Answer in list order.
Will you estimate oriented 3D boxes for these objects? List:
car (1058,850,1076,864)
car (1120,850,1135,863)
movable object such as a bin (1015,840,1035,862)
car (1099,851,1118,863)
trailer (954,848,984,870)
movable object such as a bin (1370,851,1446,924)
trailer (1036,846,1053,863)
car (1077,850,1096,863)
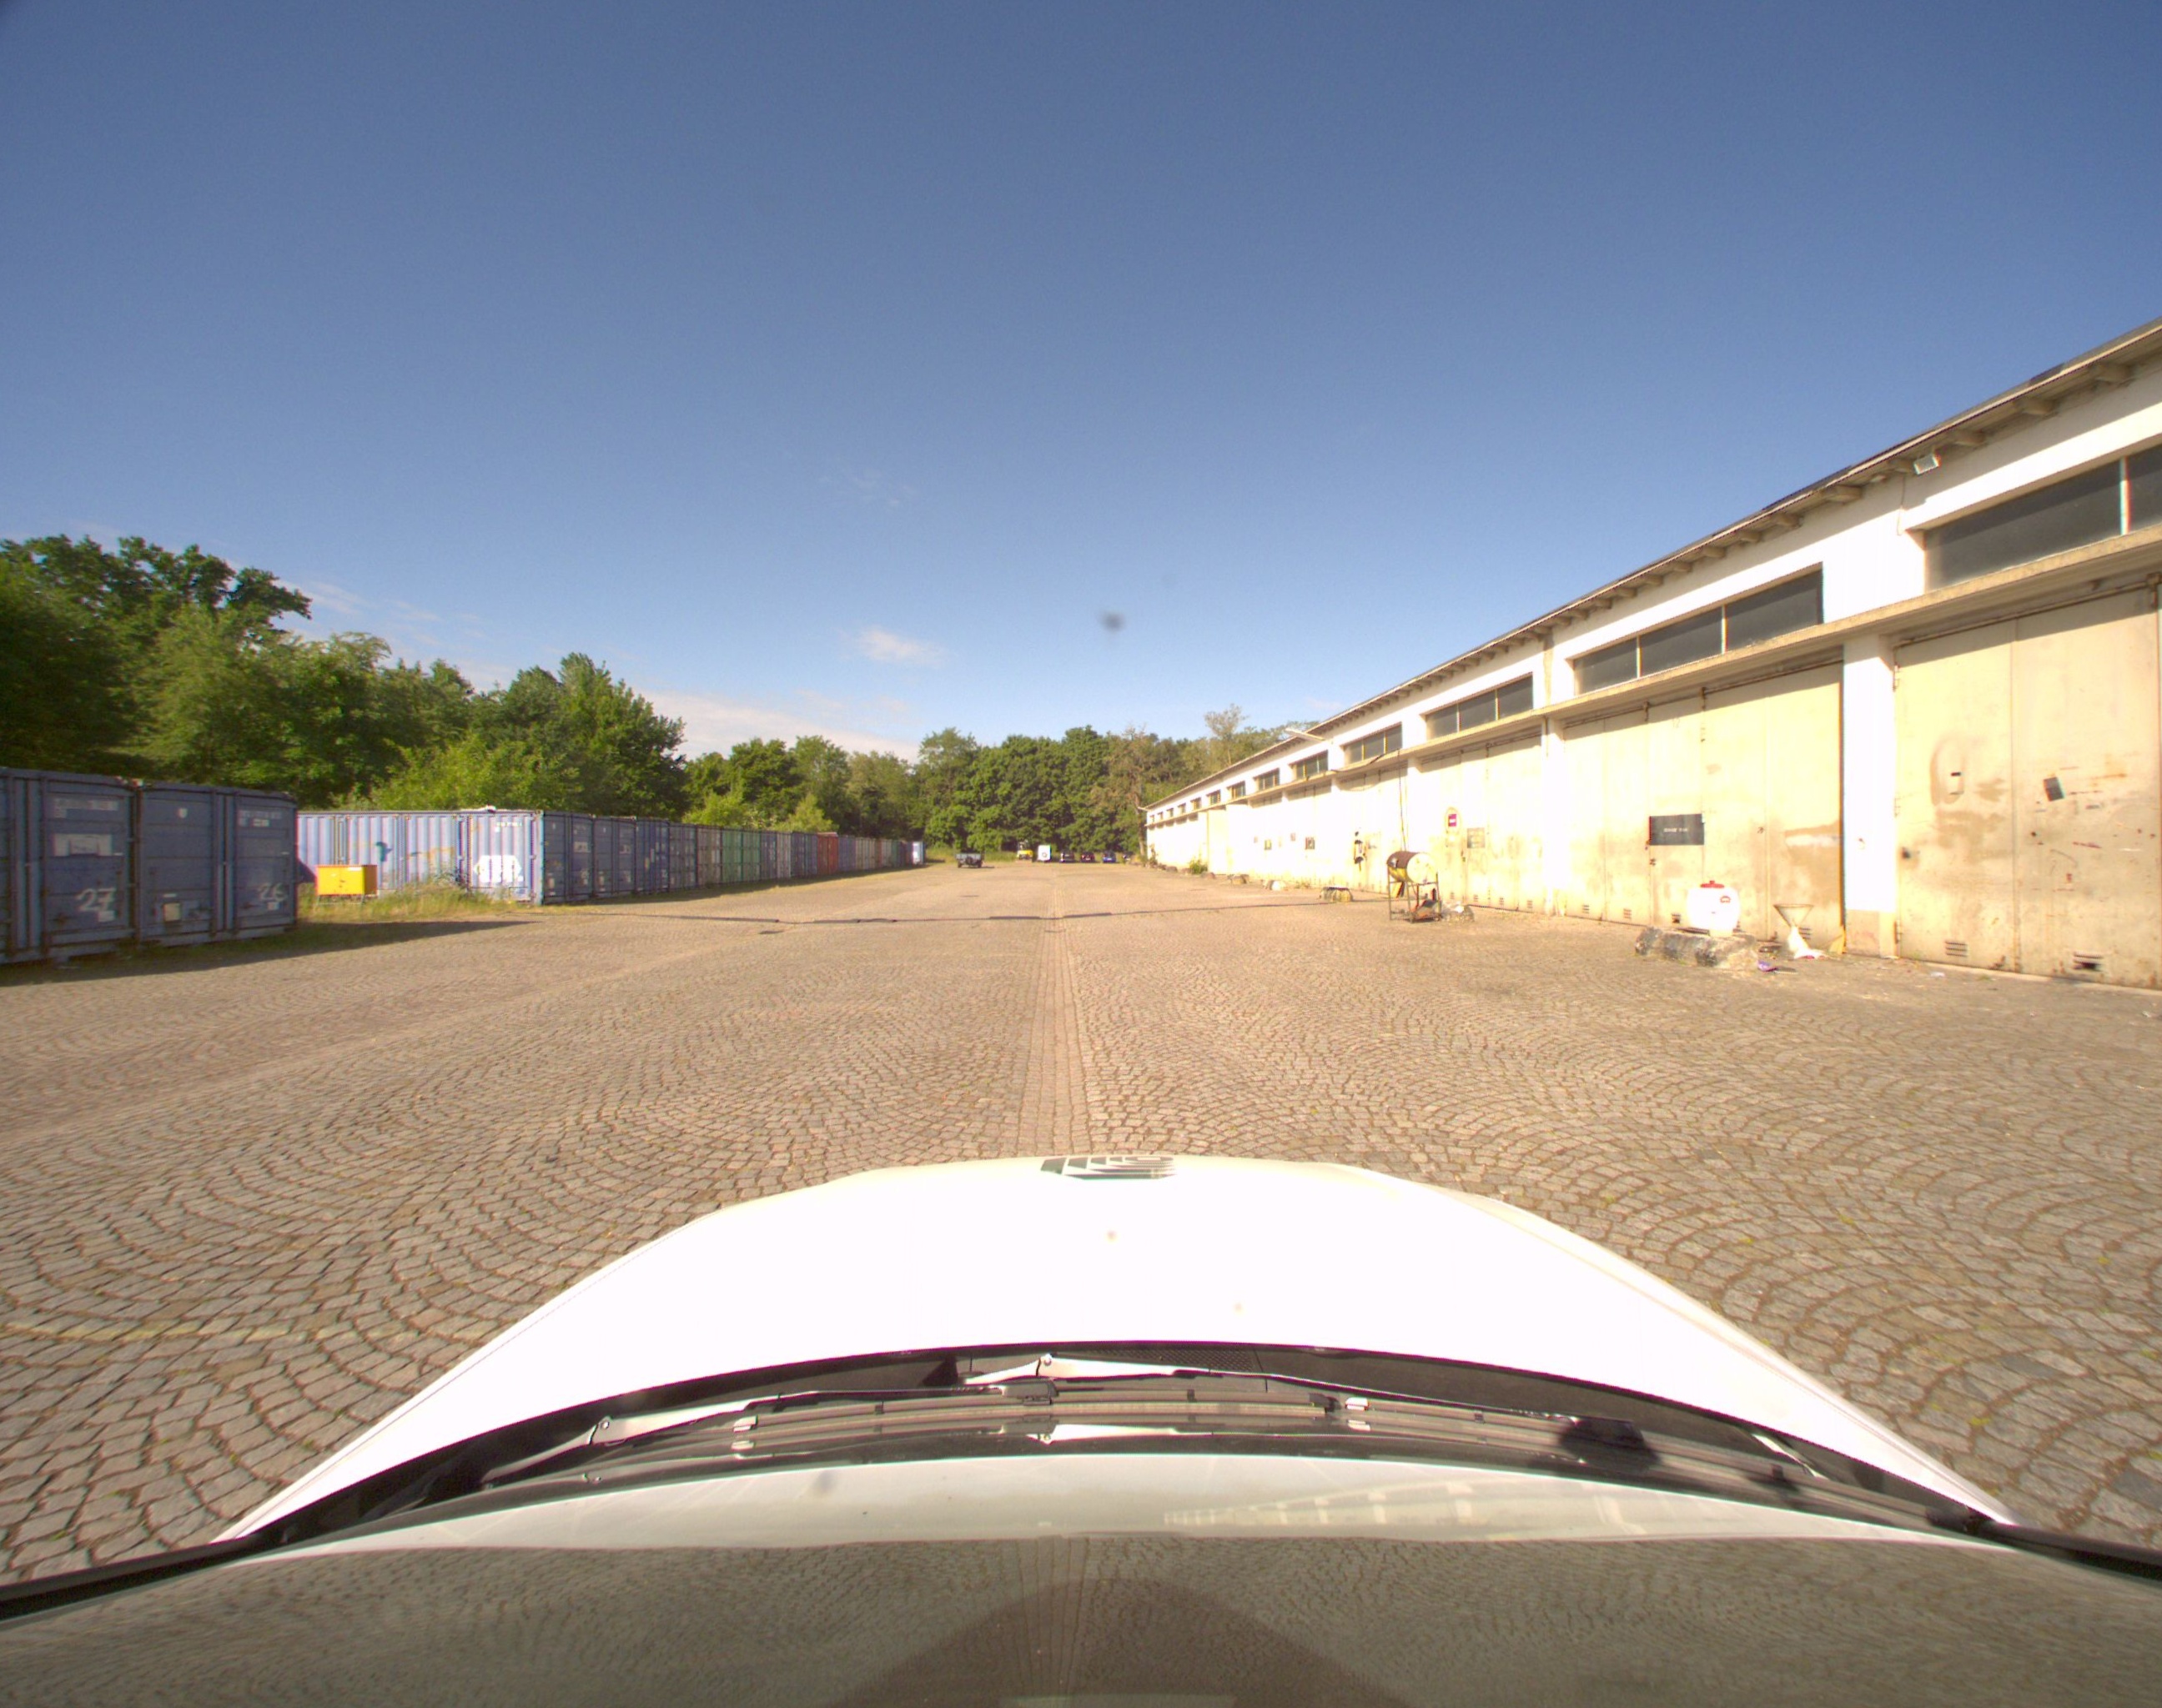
[{"bbox_3d":[-1.665,0.363,98.427,1.853,1.585,4.005,0,0,5],"label":"car"},{"bbox_3d":[5.765,0.308,100.354,1.677,1.563,4.005,0,0,5],"label":"car"},{"bbox_3d":[-6.830,-0.324,100.290,1.986,2.618,4.002,2,0,2],"label":"movable object such as a bin"},{"bbox_3d":[3.365,0.370,99.004,1.984,1.420,4.005,0,0,5],"label":"car"},{"bbox_3d":[-11.059,0.456,80.772,2.399,2.013,4.172,2,0,0],"label":"trailer"},{"bbox_3d":[6.205,0.612,15.514,0.823,1.331,1.277,0,0,-7],"label":"movable object such as a bin"},{"bbox_3d":[-4.429,0.062,100.129,1.787,2.090,3.973,0,0,2],"label":"trailer"},{"bbox_3d":[0.725,0.304,98.697,1.984,1.462,4.005,0,0,5],"label":"car"}]
